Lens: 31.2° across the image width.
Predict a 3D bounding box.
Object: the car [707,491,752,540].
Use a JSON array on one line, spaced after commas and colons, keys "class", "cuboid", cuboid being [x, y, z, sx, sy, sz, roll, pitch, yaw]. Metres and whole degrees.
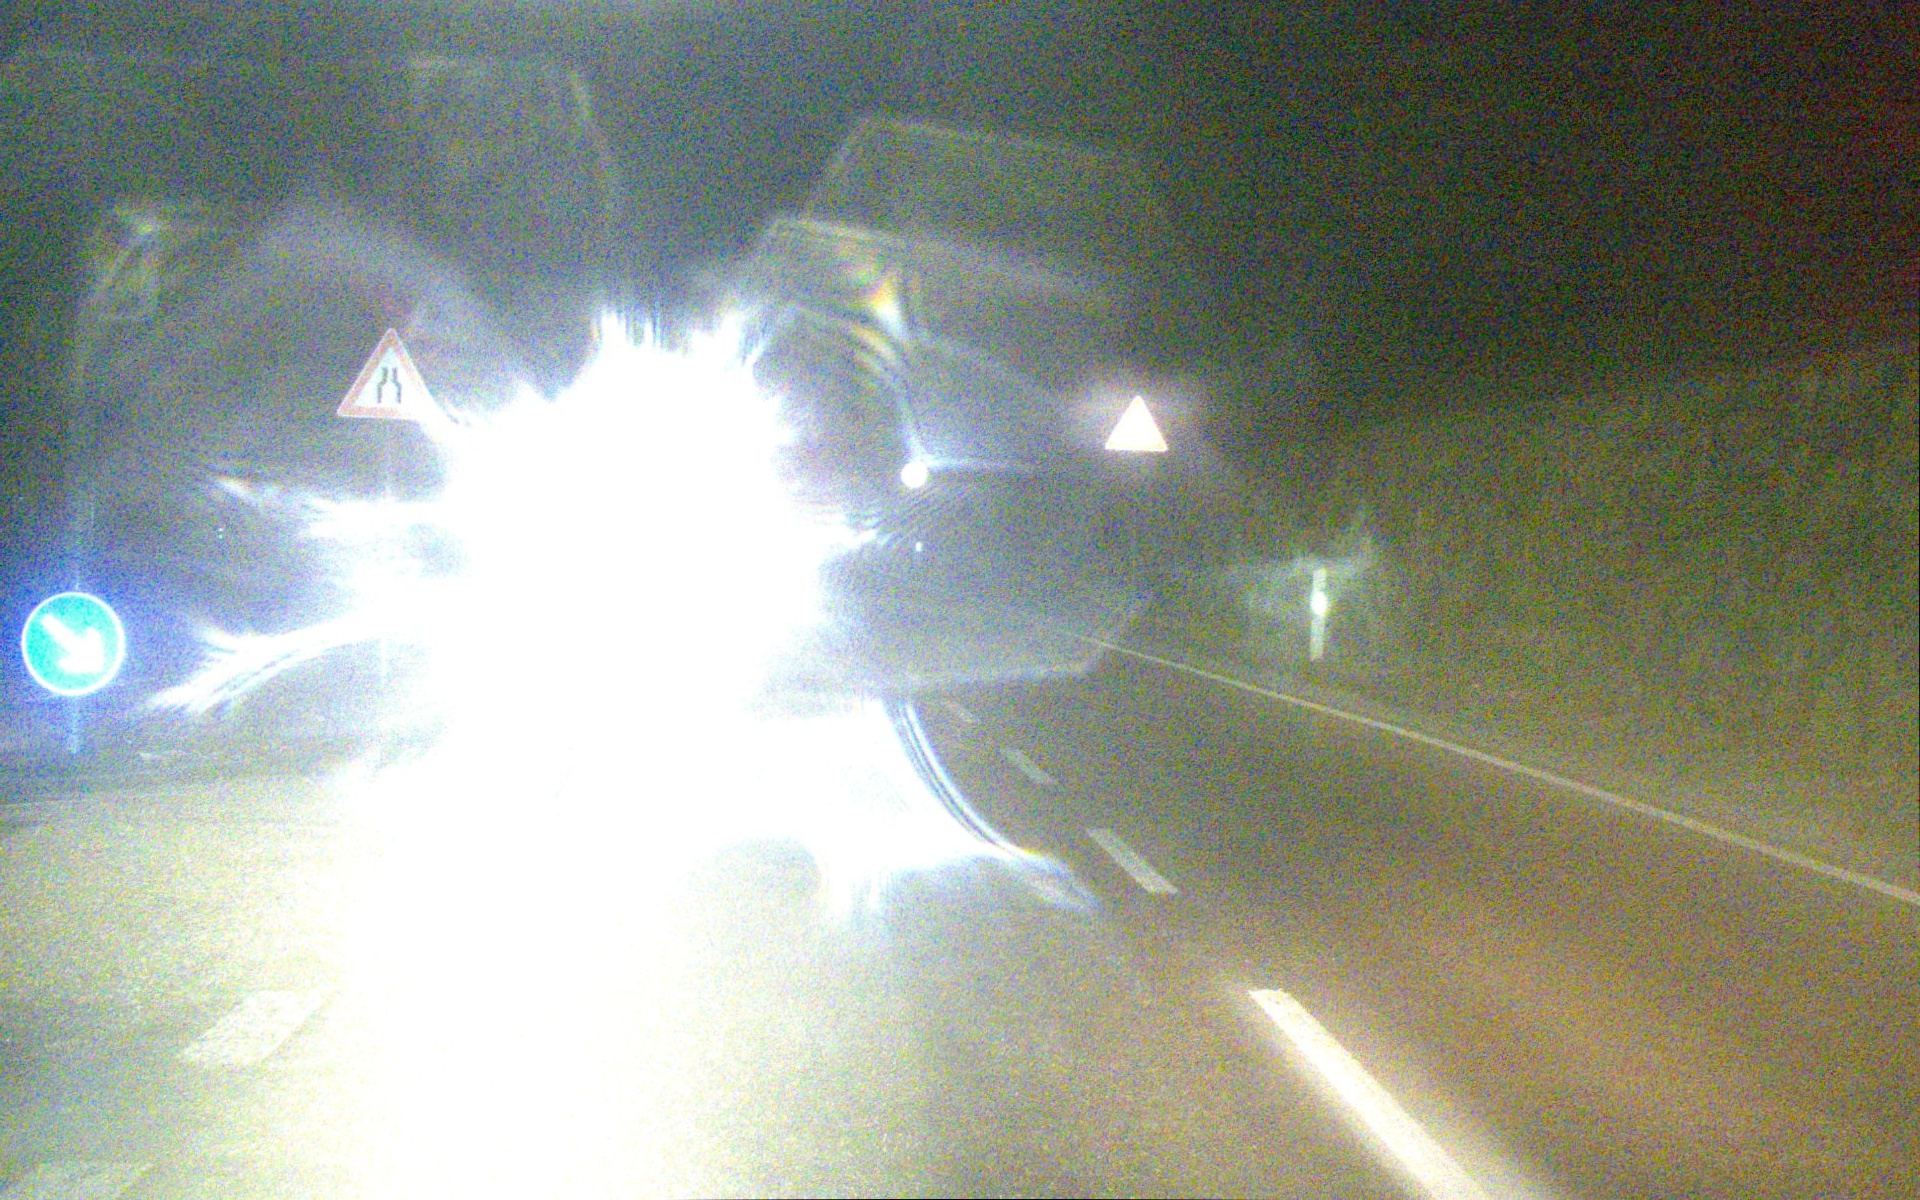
[{"class": "car", "cuboid": [-9.725, -3.554, 145.207, 1.791, 2.015, 4.580, 1, 1, -3]}]
